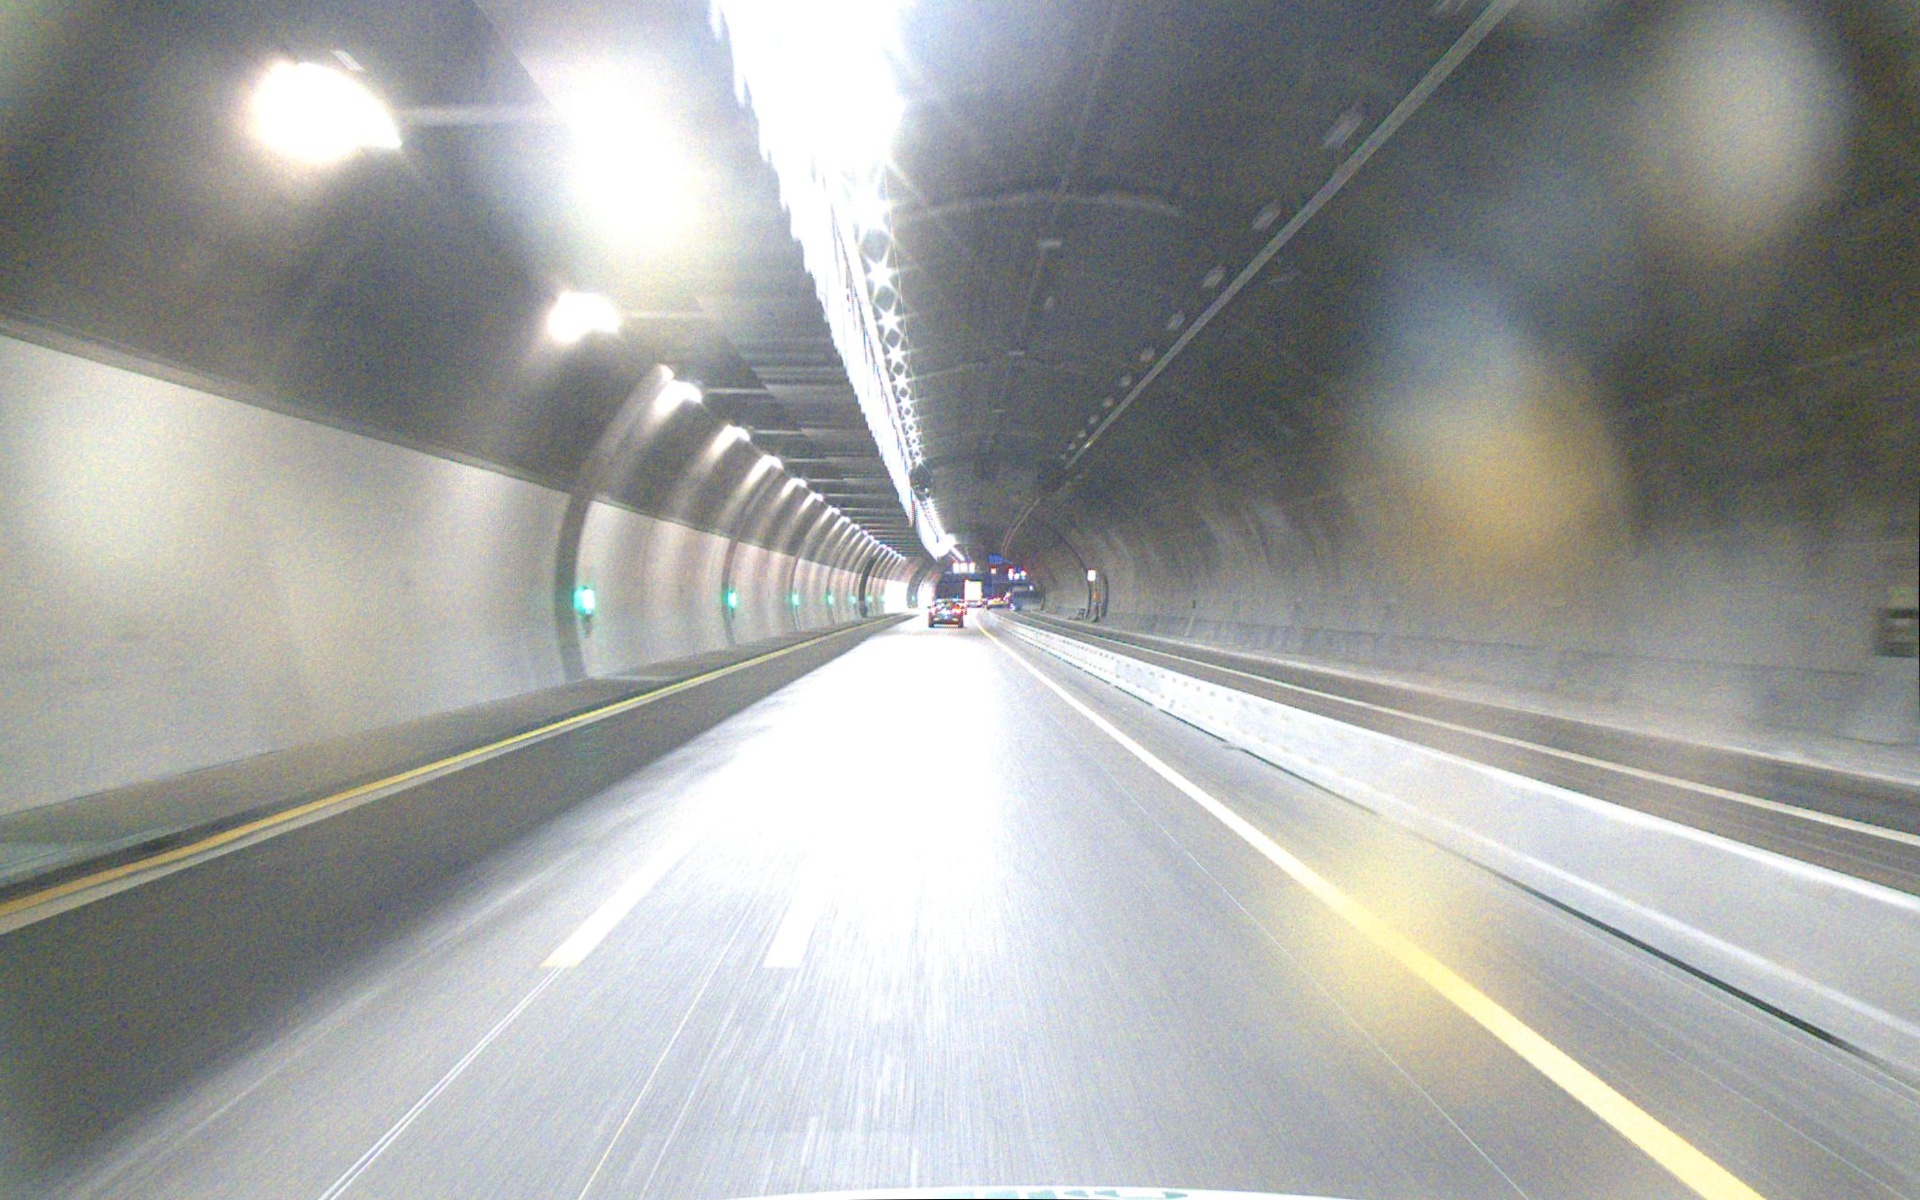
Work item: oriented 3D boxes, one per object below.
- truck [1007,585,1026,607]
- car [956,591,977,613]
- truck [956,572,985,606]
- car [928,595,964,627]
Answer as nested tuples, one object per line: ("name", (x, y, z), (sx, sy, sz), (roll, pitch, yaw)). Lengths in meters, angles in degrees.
("truck", (8.628, -0.587, 253.436), (2.832, 3.329, 8.402), (0, 0, 1))
("car", (0.622, 0.149, 156.535), (1.953, 2.049, 3.999), (0, 0, -1))
("truck", (1.702, -1.688, 260.838), (4.452, 5.074, 9.600), (0, 0, 1))
("car", (-0.761, 0.580, 87.022), (1.849, 1.635, 3.999), (0, 0, -2))
